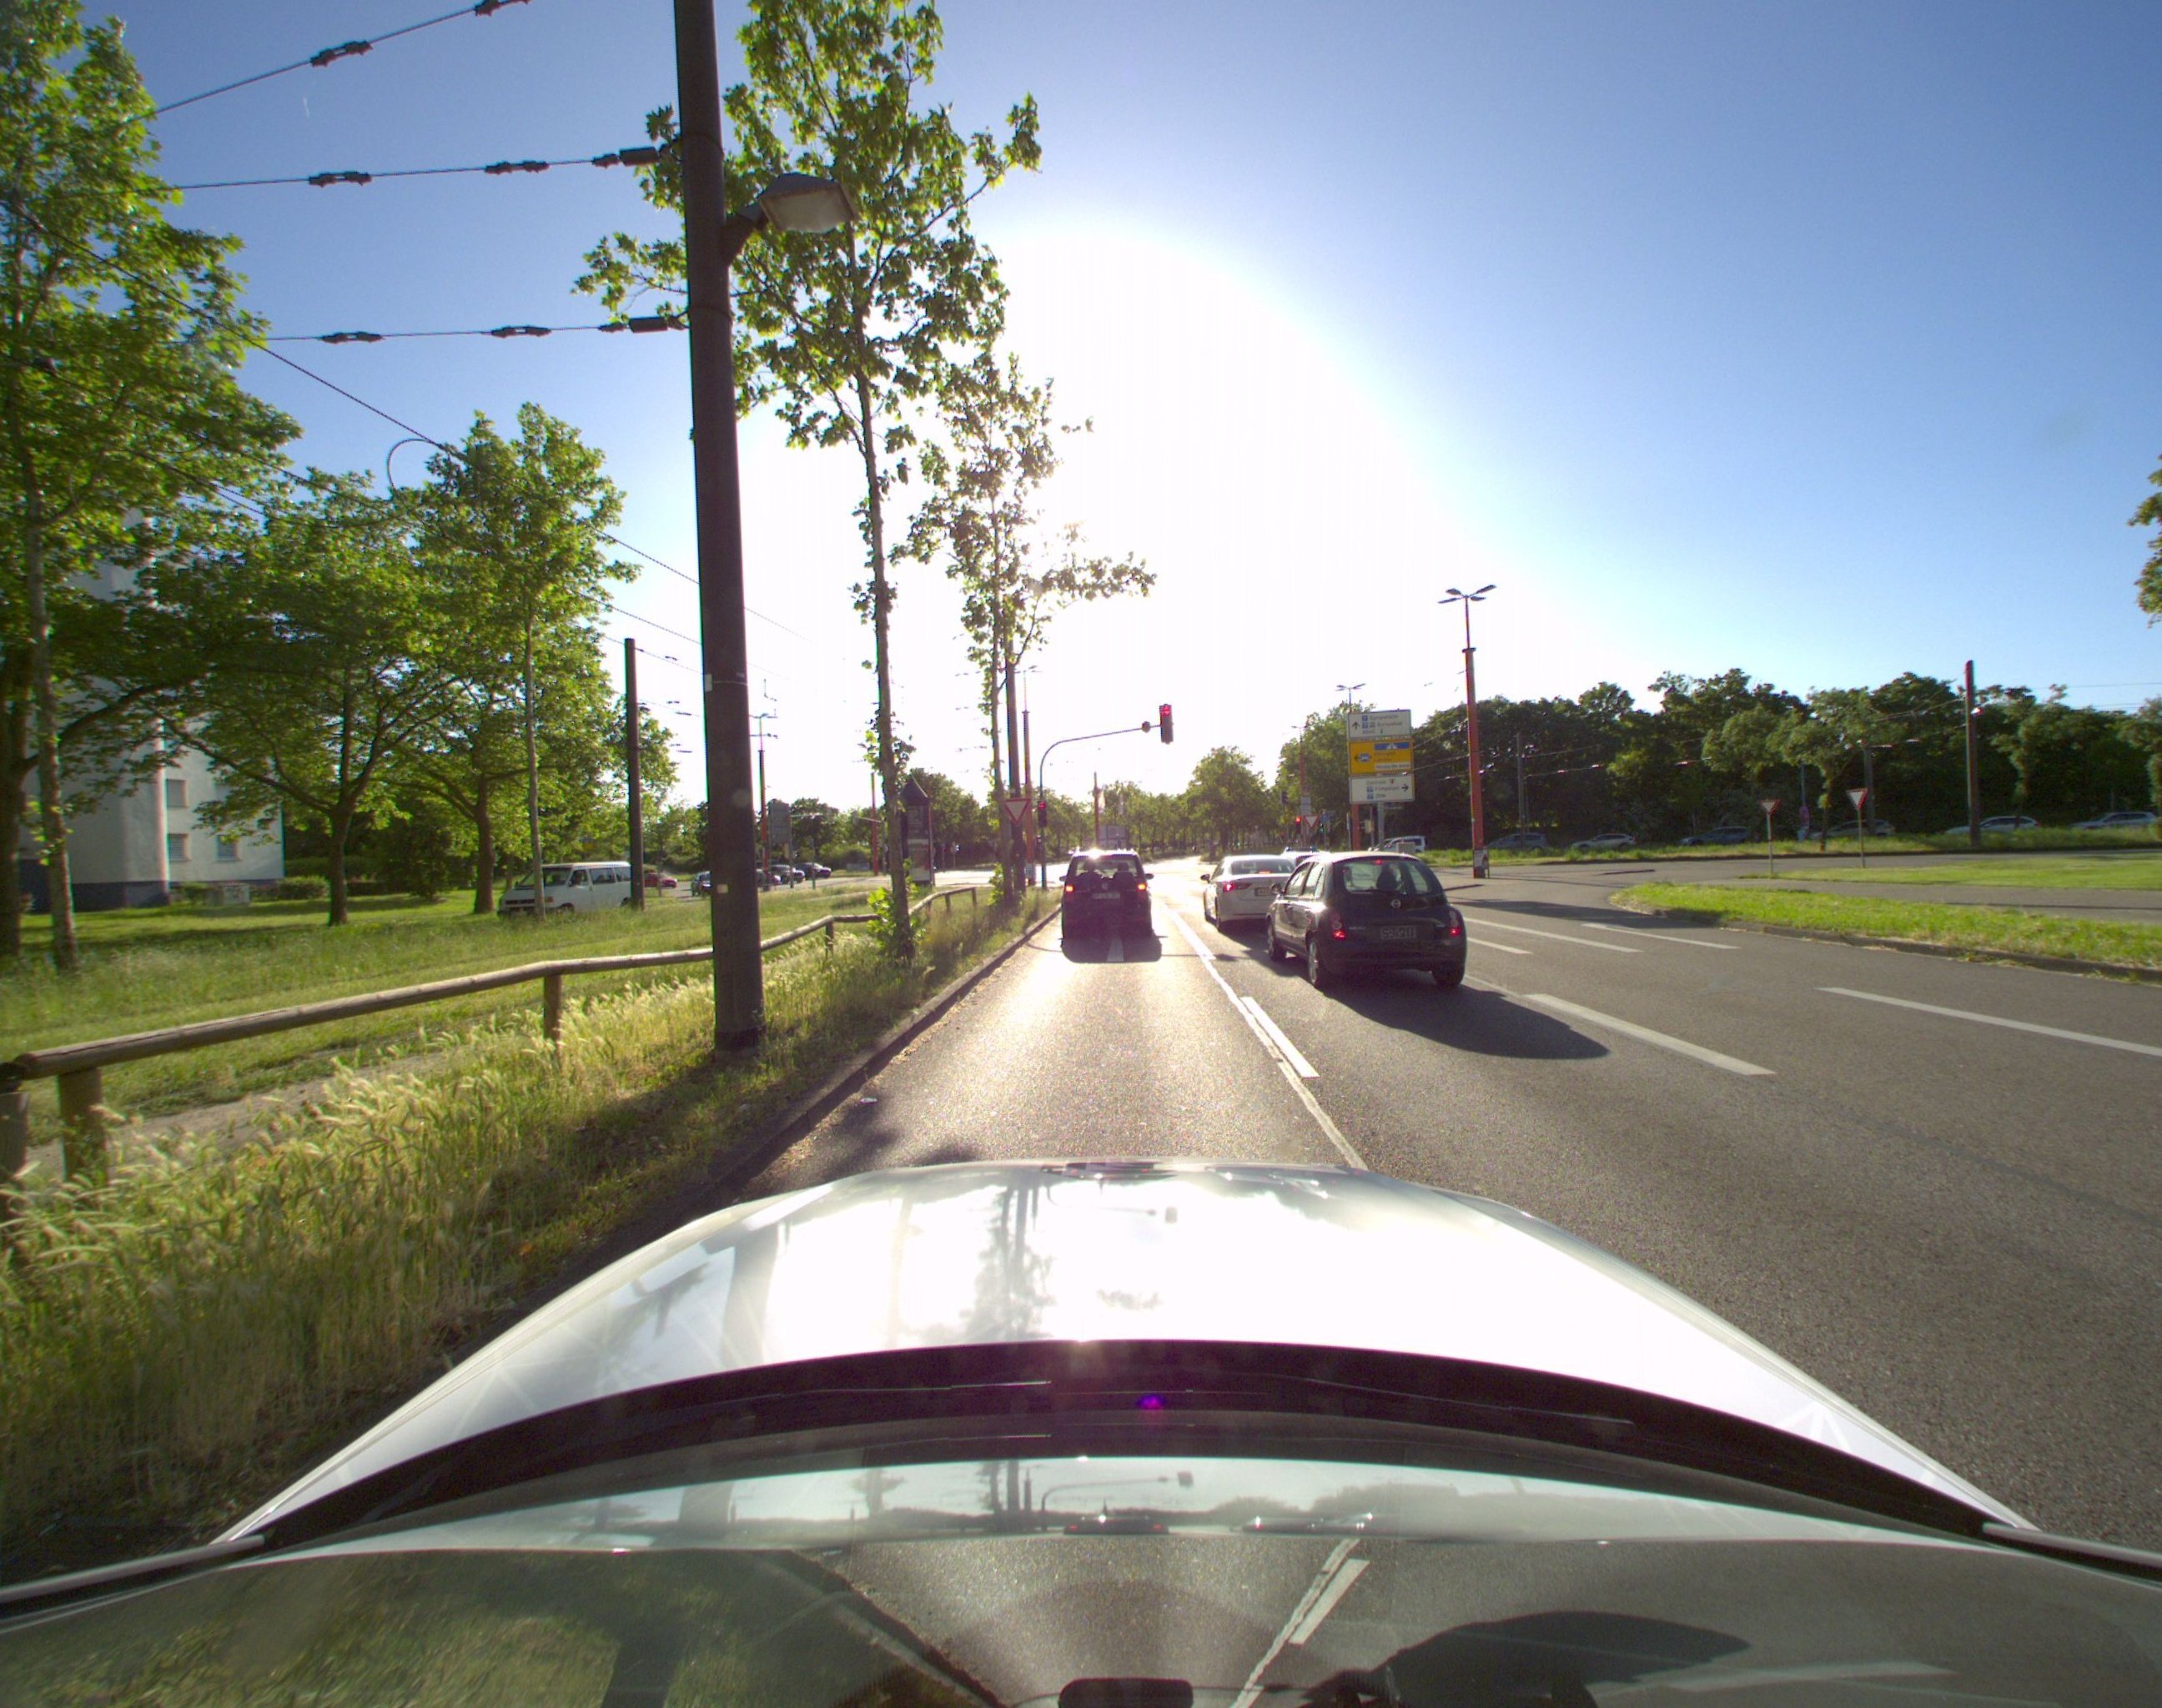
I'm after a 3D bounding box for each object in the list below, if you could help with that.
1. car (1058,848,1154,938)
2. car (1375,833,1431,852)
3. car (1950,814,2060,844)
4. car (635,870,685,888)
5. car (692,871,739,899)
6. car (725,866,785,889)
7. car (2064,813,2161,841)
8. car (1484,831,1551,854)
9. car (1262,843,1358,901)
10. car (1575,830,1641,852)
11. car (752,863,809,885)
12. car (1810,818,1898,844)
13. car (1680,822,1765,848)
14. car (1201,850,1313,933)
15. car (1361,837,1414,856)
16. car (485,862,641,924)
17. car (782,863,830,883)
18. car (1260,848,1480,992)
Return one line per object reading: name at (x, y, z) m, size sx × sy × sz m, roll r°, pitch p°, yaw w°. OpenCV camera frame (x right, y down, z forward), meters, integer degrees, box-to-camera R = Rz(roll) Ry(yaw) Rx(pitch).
car at (0.504, 0.718, 16.489) m, size 1.704 × 1.603 × 3.351 m, roll -1°, pitch 0°, yaw 2°
car at (25.730, -0.901, 65.153) m, size 3.949 × 1.338 × 1.739 m, roll -1°, pitch -1°, yaw 28°
car at (55.221, -1.458, 48.793) m, size 3.949 × 1.581 × 1.884 m, roll -1°, pitch -1°, yaw 30°
car at (-38.961, 2.311, 75.389) m, size 4.000 × 1.436 × 1.825 m, roll -3°, pitch 2°, yaw 21°
car at (-21.890, 1.792, 48.662) m, size 1.907 × 1.543 × 4.453 m, roll -1°, pitch -1°, yaw -33°
car at (-27.515, 1.966, 68.703) m, size 4.447 × 1.610 × 1.910 m, roll -3°, pitch 2°, yaw 21°
car at (61.766, -1.593, 48.351) m, size 3.948 × 1.486 × 1.903 m, roll -1°, pitch -1°, yaw 31°
car at (32.671, -0.849, 61.064) m, size 4.310 × 1.559 × 1.883 m, roll -1°, pitch -1°, yaw 27°
car at (7.158, 0.515, 25.956) m, size 1.886 × 1.632 × 4.504 m, roll -2°, pitch 0°, yaw 2°
car at (39.349, -0.924, 60.912) m, size 3.949 × 1.495 × 1.872 m, roll -1°, pitch -1°, yaw 29°
car at (-26.653, 1.786, 72.153) m, size 4.447 × 1.610 × 1.910 m, roll -3°, pitch 2°, yaw 21°
car at (51.952, -1.516, 54.818) m, size 3.949 × 1.528 × 1.871 m, roll -1°, pitch -1°, yaw 29°
car at (43.490, -1.251, 55.337) m, size 4.220 × 1.627 × 1.941 m, roll -1°, pitch -1°, yaw 29°
car at (3.517, 0.701, 16.964) m, size 1.671 × 1.475 × 4.134 m, roll -1°, pitch 0°, yaw 4°
car at (25.798, -0.640, 68.666) m, size 3.949 × 1.476 × 1.800 m, roll -1°, pitch -1°, yaw 28°
car at (-16.612, 1.172, 26.429) m, size 1.814 × 1.780 × 4.574 m, roll -1°, pitch 0°, yaw 5°
car at (-26.604, 1.822, 78.888) m, size 3.952 × 1.620 × 1.910 m, roll -3°, pitch 2°, yaw 21°
car at (3.432, 0.689, 10.348) m, size 1.633 × 1.494 × 3.505 m, roll -1°, pitch 0°, yaw 2°
